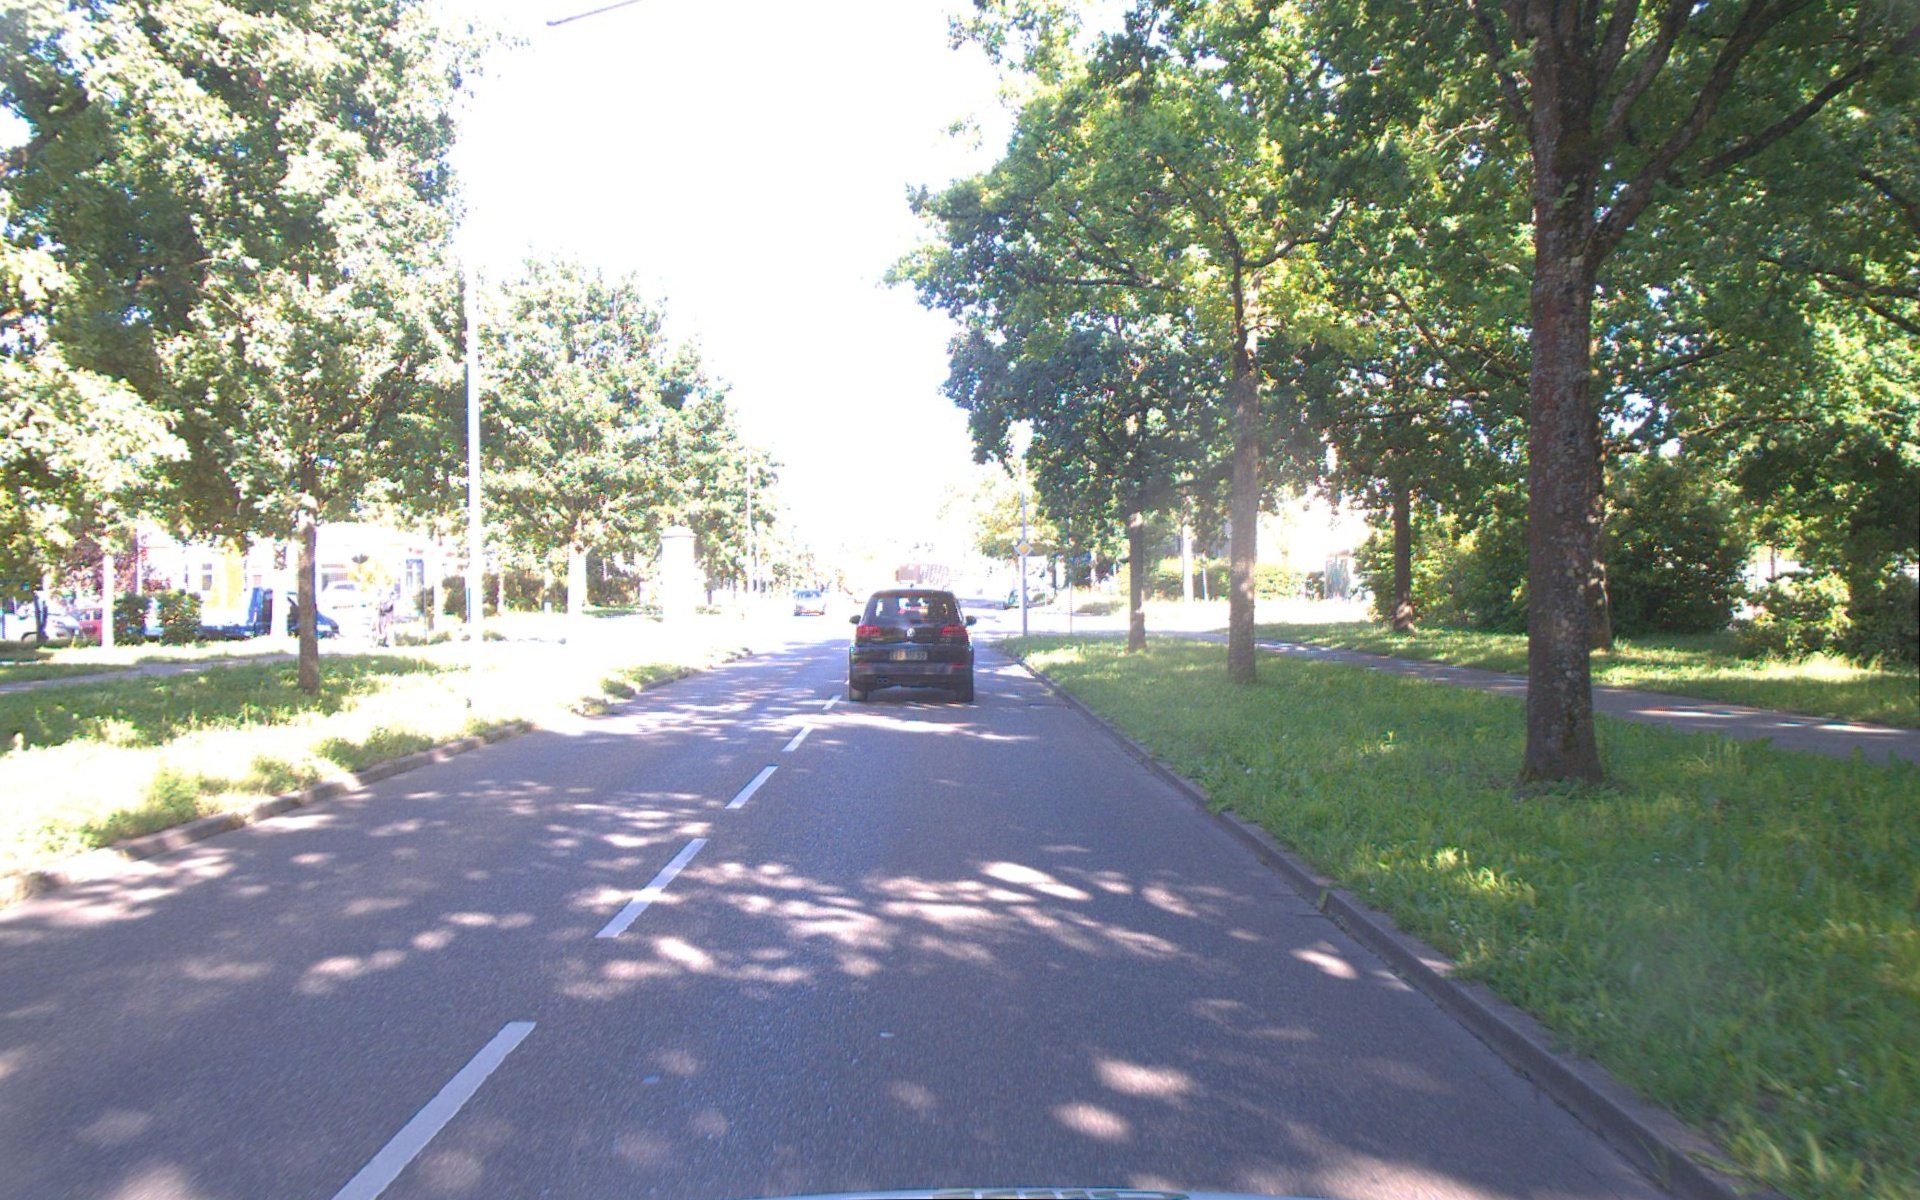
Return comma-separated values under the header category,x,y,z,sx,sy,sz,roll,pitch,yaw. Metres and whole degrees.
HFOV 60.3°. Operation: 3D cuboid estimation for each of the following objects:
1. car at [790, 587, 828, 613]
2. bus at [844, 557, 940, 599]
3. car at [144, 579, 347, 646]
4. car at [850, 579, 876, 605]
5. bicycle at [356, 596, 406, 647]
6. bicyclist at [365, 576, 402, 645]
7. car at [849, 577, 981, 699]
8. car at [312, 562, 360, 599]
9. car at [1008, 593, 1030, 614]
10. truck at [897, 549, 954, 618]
category,x,y,z,sx,sy,sz,roll,pitch,yaw
car,-8.843,-0.028,97.225,1.953,1.481,3.999,-1,1,-1
bus,-6.618,-2.090,160.480,8.937,3.844,3.380,1,0,-10
car,-23.110,0.402,53.699,5.686,2.049,1.995,1,0,-11
car,-7.907,-0.627,134.971,1.955,2.049,3.995,1,0,-6
bicycle,-15.974,0.571,45.679,0.702,1.344,1.991,1,0,-1
bicyclist,-15.942,0.285,45.744,0.672,1.863,0.934,1,0,-1
car,-0.605,0.512,25.068,1.745,1.662,4.001,1,0,2
car,-40.077,-1.252,106.338,1.955,2.275,3.995,-1,0,-6
car,4.130,0.251,116.662,1.422,1.430,2.856,1,0,0
truck,-1.656,-0.829,83.039,2.460,3.300,8.154,-1,1,1
